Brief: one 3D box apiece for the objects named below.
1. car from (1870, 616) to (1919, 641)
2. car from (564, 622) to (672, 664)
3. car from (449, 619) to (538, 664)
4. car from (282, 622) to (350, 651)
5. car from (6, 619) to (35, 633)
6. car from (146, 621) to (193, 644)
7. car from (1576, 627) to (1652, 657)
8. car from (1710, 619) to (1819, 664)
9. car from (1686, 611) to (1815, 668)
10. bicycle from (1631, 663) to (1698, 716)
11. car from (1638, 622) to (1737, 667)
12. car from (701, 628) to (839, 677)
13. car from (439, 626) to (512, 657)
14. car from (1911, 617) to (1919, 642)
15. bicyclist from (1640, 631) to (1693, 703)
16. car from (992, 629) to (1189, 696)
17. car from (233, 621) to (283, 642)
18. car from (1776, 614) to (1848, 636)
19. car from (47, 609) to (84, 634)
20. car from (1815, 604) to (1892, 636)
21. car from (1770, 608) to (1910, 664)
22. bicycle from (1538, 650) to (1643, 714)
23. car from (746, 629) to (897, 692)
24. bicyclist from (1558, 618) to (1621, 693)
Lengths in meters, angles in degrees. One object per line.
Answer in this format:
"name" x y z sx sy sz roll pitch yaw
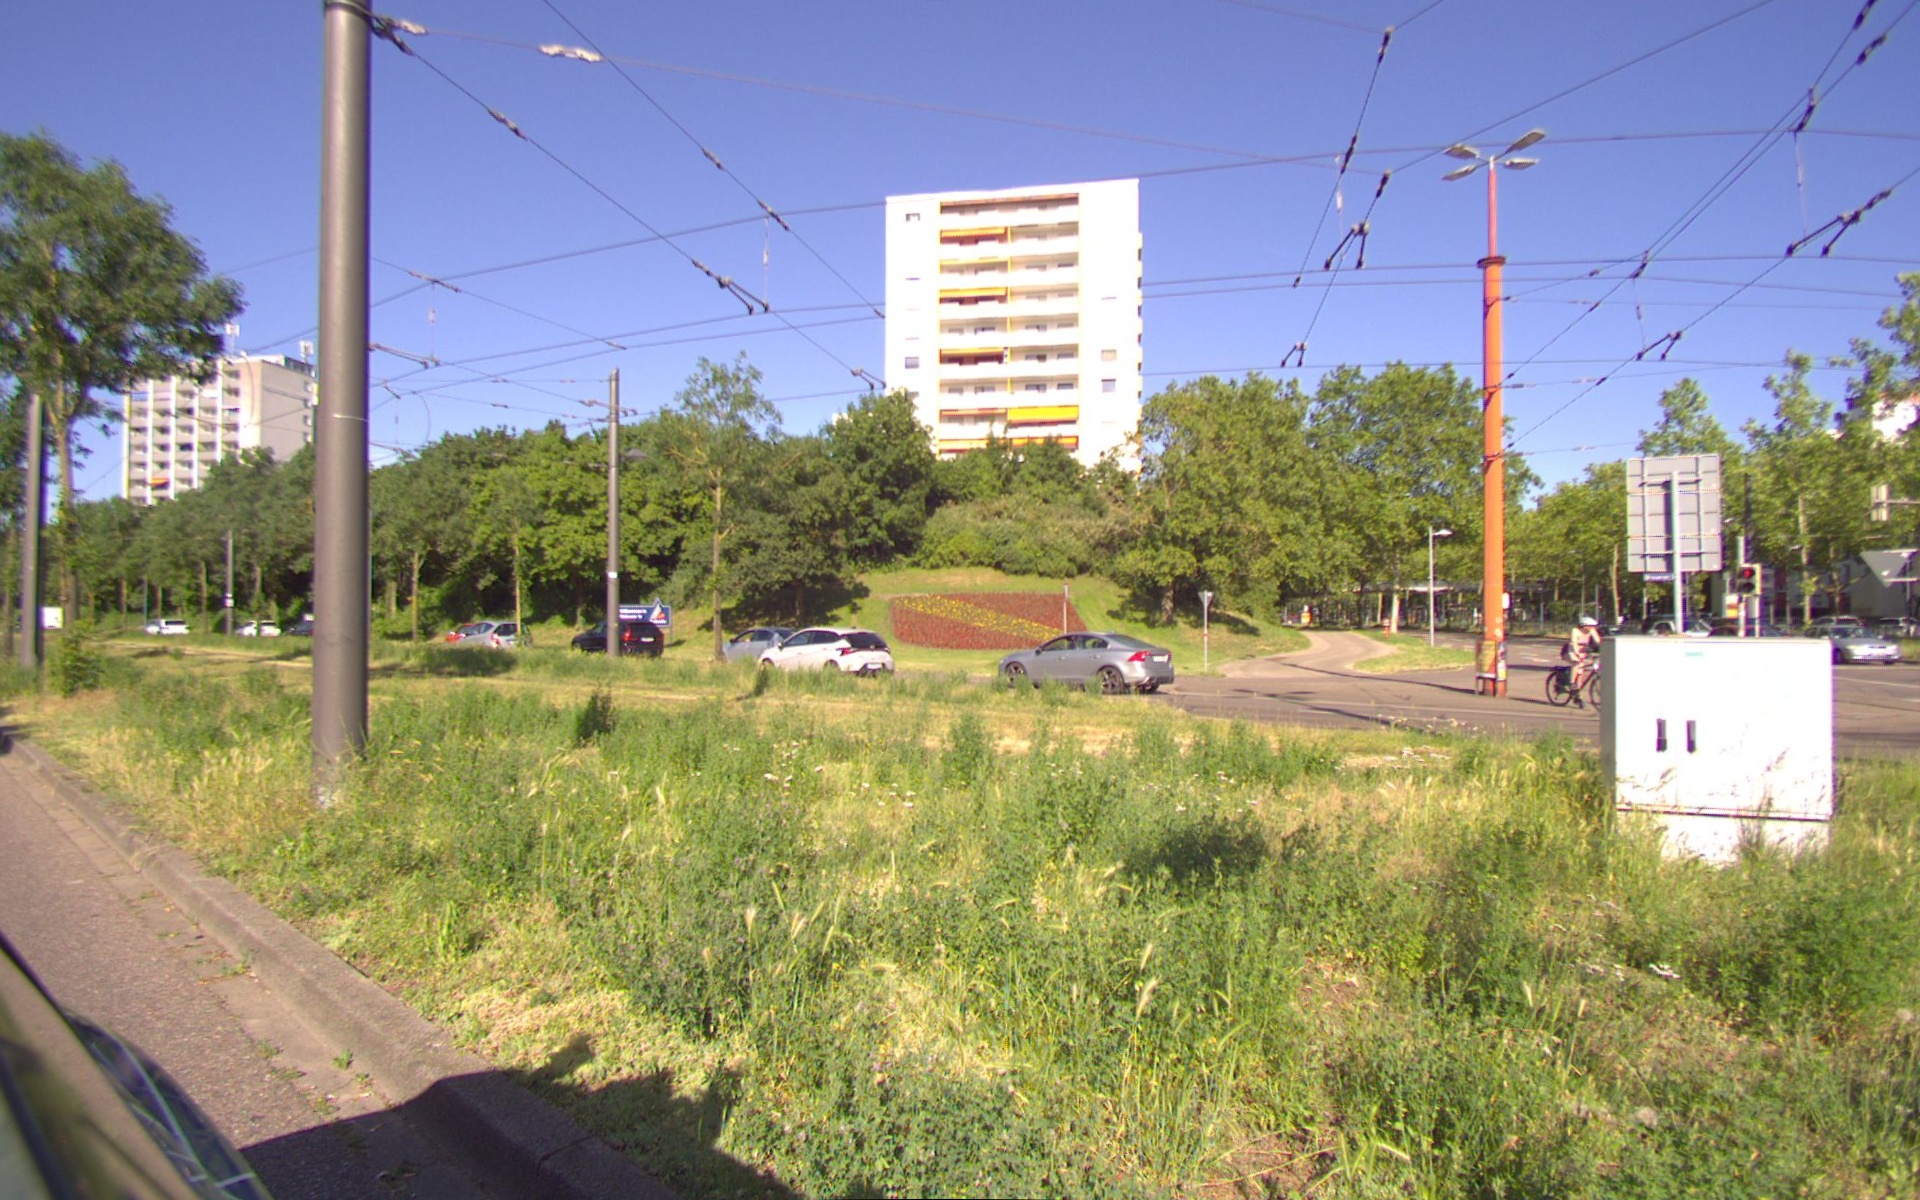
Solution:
"car" 64.780 1.912 68.789 1.864 1.608 4.010 0 0 -34
"car" -13.273 1.616 39.103 4.630 1.492 1.972 -1 -1 42
"car" -17.925 1.568 38.856 3.757 1.620 1.744 -1 -2 42
"car" -34.646 1.933 54.414 4.991 1.420 1.971 -1 -1 44
"car" -108.004 2.972 116.313 5.272 1.596 1.972 -1 -1 42
"car" -57.539 2.340 73.639 4.654 1.634 1.875 -1 -1 41
"car" 31.786 2.030 49.304 1.717 1.332 3.986 -1 0 11
"car" 33.653 1.703 42.477 1.892 1.763 3.986 -1 0 11
"car" 28.813 1.402 37.075 1.979 1.915 4.260 -1 0 11
"bicycle" 13.635 1.707 19.623 0.364 0.889 1.622 -1 0 9
"car" 30.845 1.865 43.073 1.892 1.763 3.986 -1 0 11
"car" -6.249 1.670 33.029 4.692 1.443 1.972 -1 -2 42
"car" -22.580 1.912 47.111 4.177 1.307 1.639 -1 -1 43
"car" 64.121 1.897 65.079 1.864 1.608 4.010 0 0 -34
"bicyclist" 13.581 1.275 19.471 0.542 1.333 0.698 -1 -1 8
"car" 3.080 1.437 24.415 4.400 1.384 1.972 -1 -1 43
"car" -48.808 2.174 70.321 4.542 1.408 1.879 -1 -1 42
"car" 66.968 1.953 79.597 1.864 1.608 4.010 0 0 -34
"car" -89.031 2.158 100.740 6.879 2.387 2.017 -1 -1 42
"car" 58.539 1.303 66.414 1.981 2.029 4.385 -1 -1 15
"car" 32.077 1.264 37.077 1.979 1.915 4.260 -1 0 11
"bicycle" 12.457 1.587 20.085 0.467 1.089 2.362 -1 0 -3
"car" -3.602 1.549 25.951 4.183 1.484 1.571 -3 -4 43
"bicyclist" 12.437 1.085 20.009 0.741 1.441 0.758 -1 -1 -3
